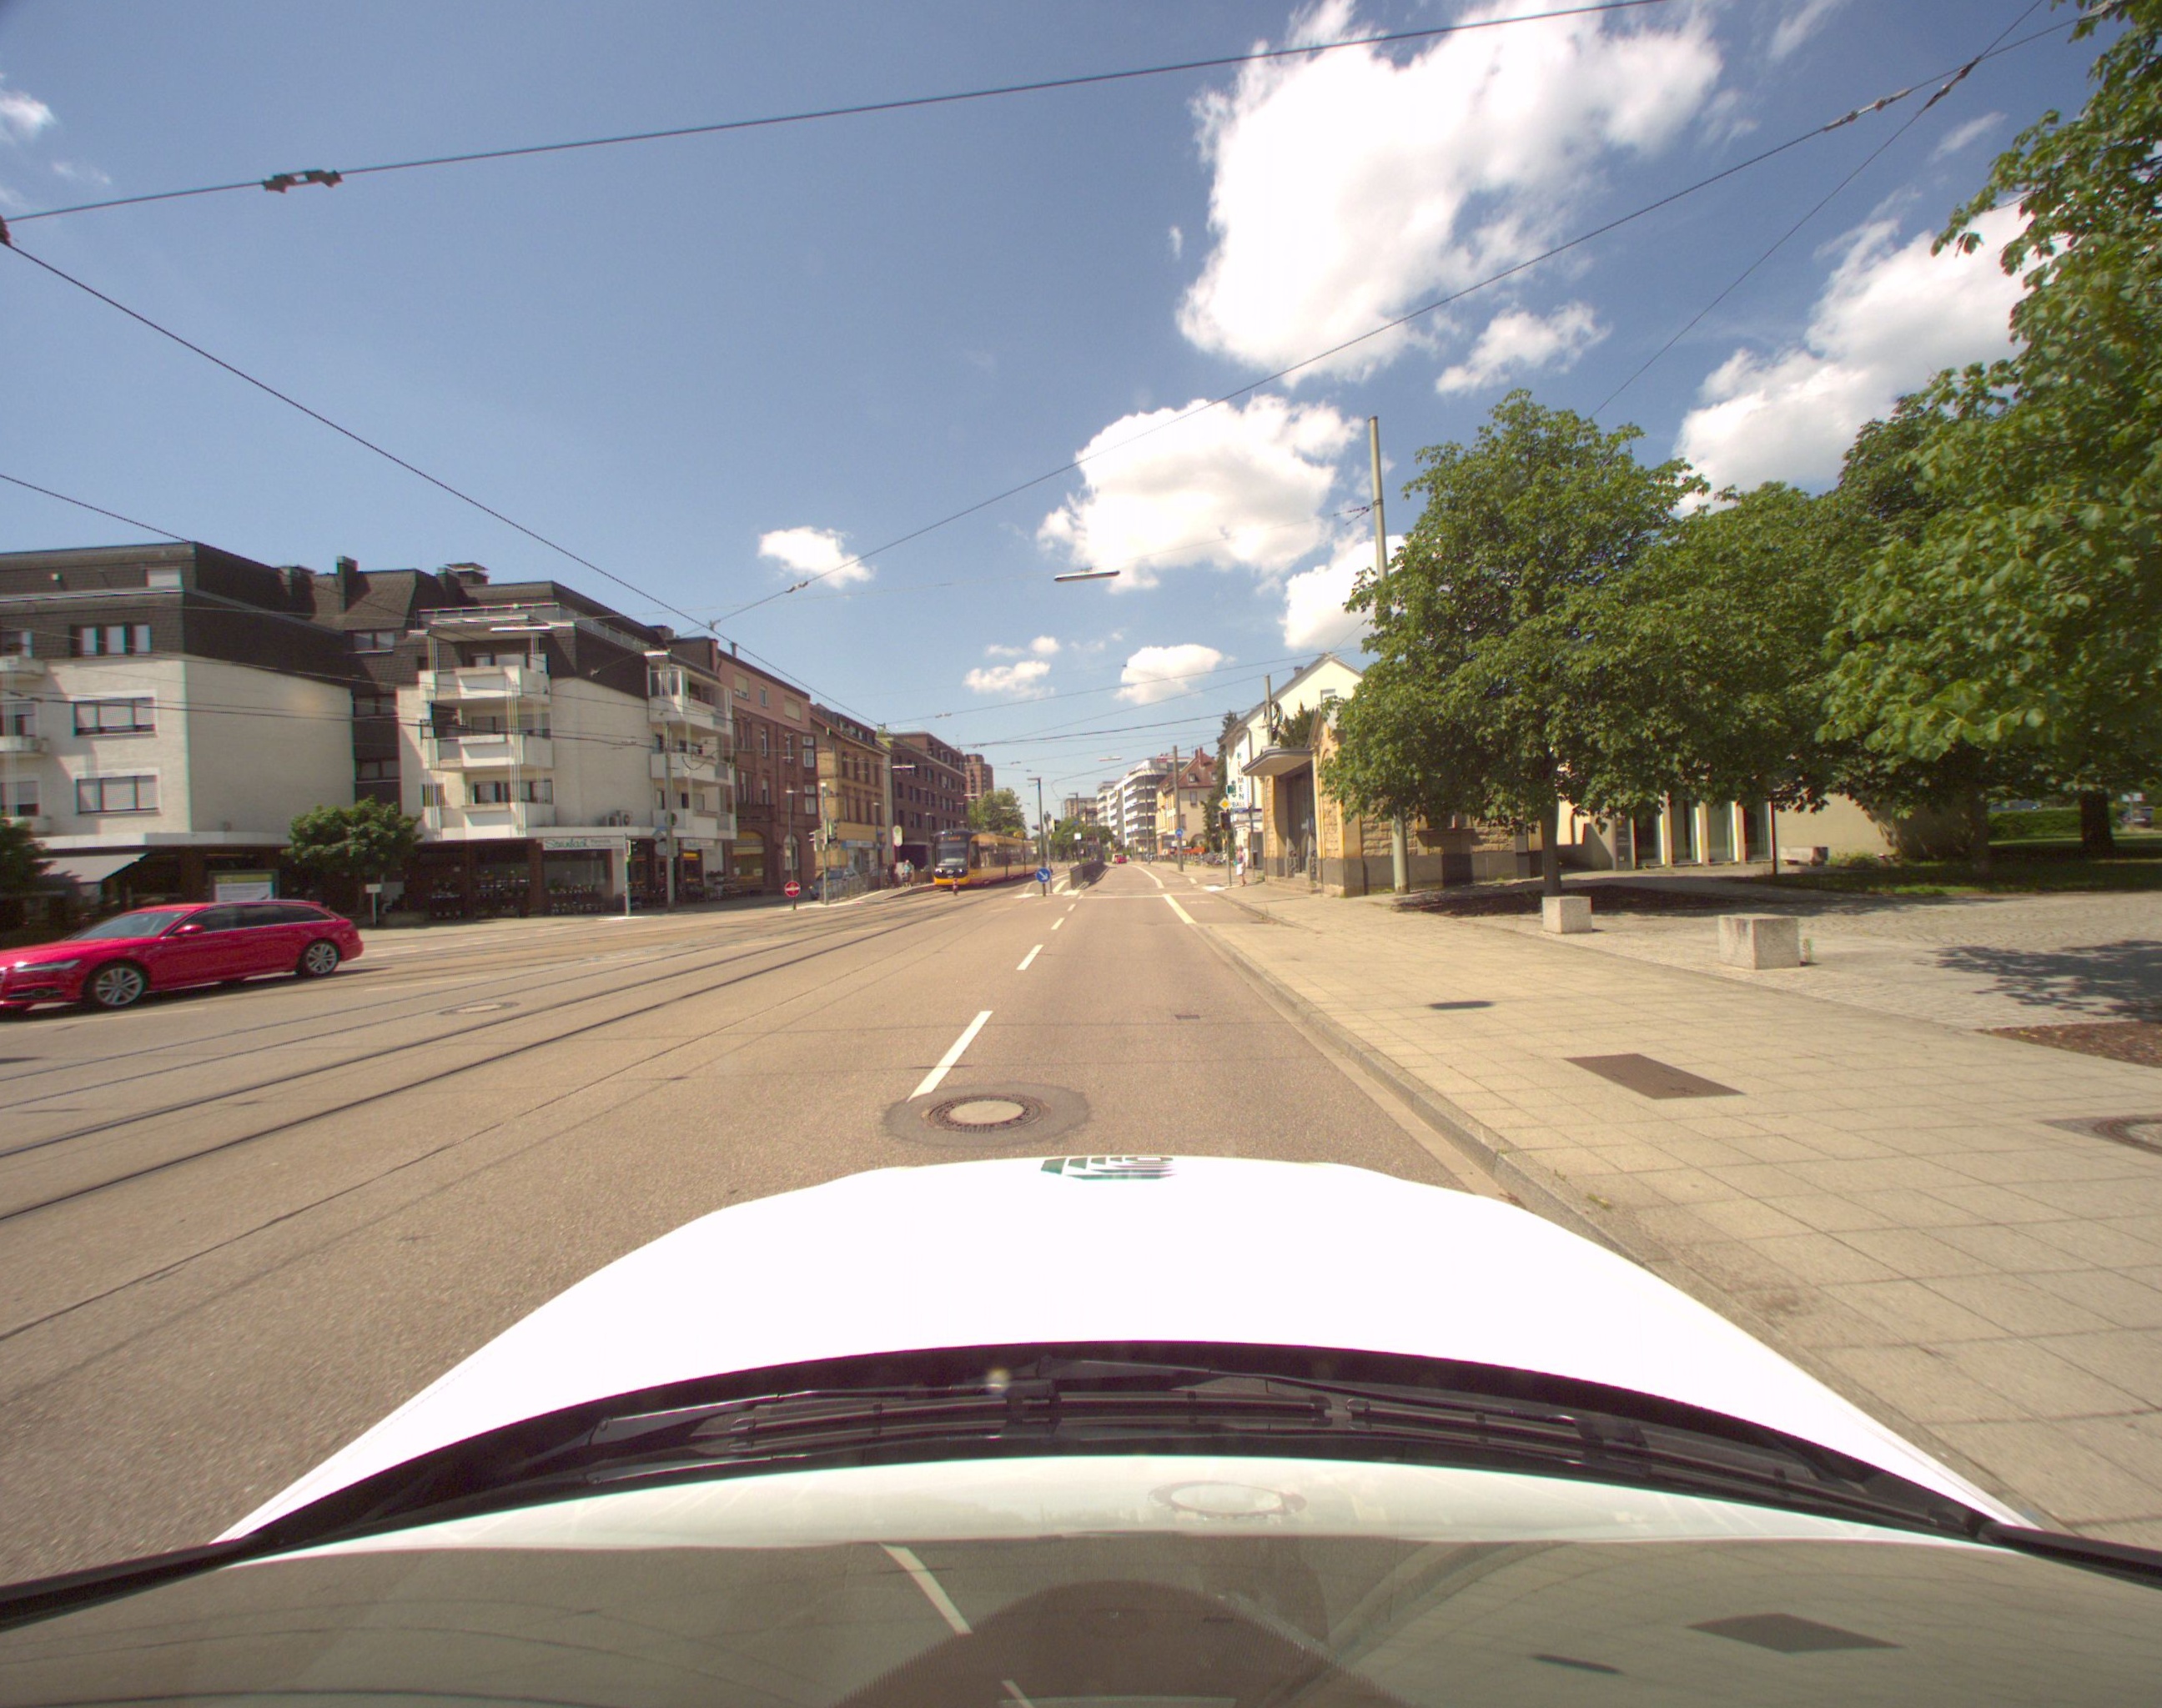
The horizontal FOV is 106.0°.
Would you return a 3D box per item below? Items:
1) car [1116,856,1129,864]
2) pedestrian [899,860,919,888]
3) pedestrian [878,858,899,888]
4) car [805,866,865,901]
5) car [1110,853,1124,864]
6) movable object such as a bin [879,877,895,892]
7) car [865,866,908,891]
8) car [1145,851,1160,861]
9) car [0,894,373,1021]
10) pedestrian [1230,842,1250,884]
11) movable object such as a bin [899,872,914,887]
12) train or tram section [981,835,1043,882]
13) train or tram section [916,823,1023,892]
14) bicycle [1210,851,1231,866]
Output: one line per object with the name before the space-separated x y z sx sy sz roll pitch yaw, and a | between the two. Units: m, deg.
car | 7.911 1.079 155.755 1.989 1.442 4.012 -3 0 -3
pedestrian | -9.796 1.126 46.419 0.782 1.560 0.921 -3 0 2
pedestrian | -10.376 1.033 43.935 0.782 1.560 0.921 -3 -1 2
car | -13.429 1.573 44.729 1.729 1.615 4.607 -3 0 2
car | 7.109 0.972 162.258 1.990 1.991 5.505 -4 0 -5
movable object such as a bin | -10.336 1.620 43.486 0.672 0.780 0.538 -3 0 1
car | -13.010 1.630 54.673 1.648 1.444 3.856 -3 0 3
car | 12.788 0.398 145.676 1.873 1.624 4.635 -5 0 -2
car | -14.830 1.545 13.375 1.985 1.450 4.824 -3 0 3
pedestrian | 6.455 0.370 33.077 0.558 1.666 0.685 -3 0 25
movable object such as a bin | -9.825 1.427 45.851 0.672 0.780 0.619 -3 0 1
train or tram section | -5.889 0.434 73.112 3.222 3.567 16.360 -3 -1 3
train or tram section | -6.817 0.276 54.841 3.237 3.567 20.515 -3 -1 3
bicycle | 11.109 0.359 64.796 1.524 1.086 0.430 -5 -1 8
